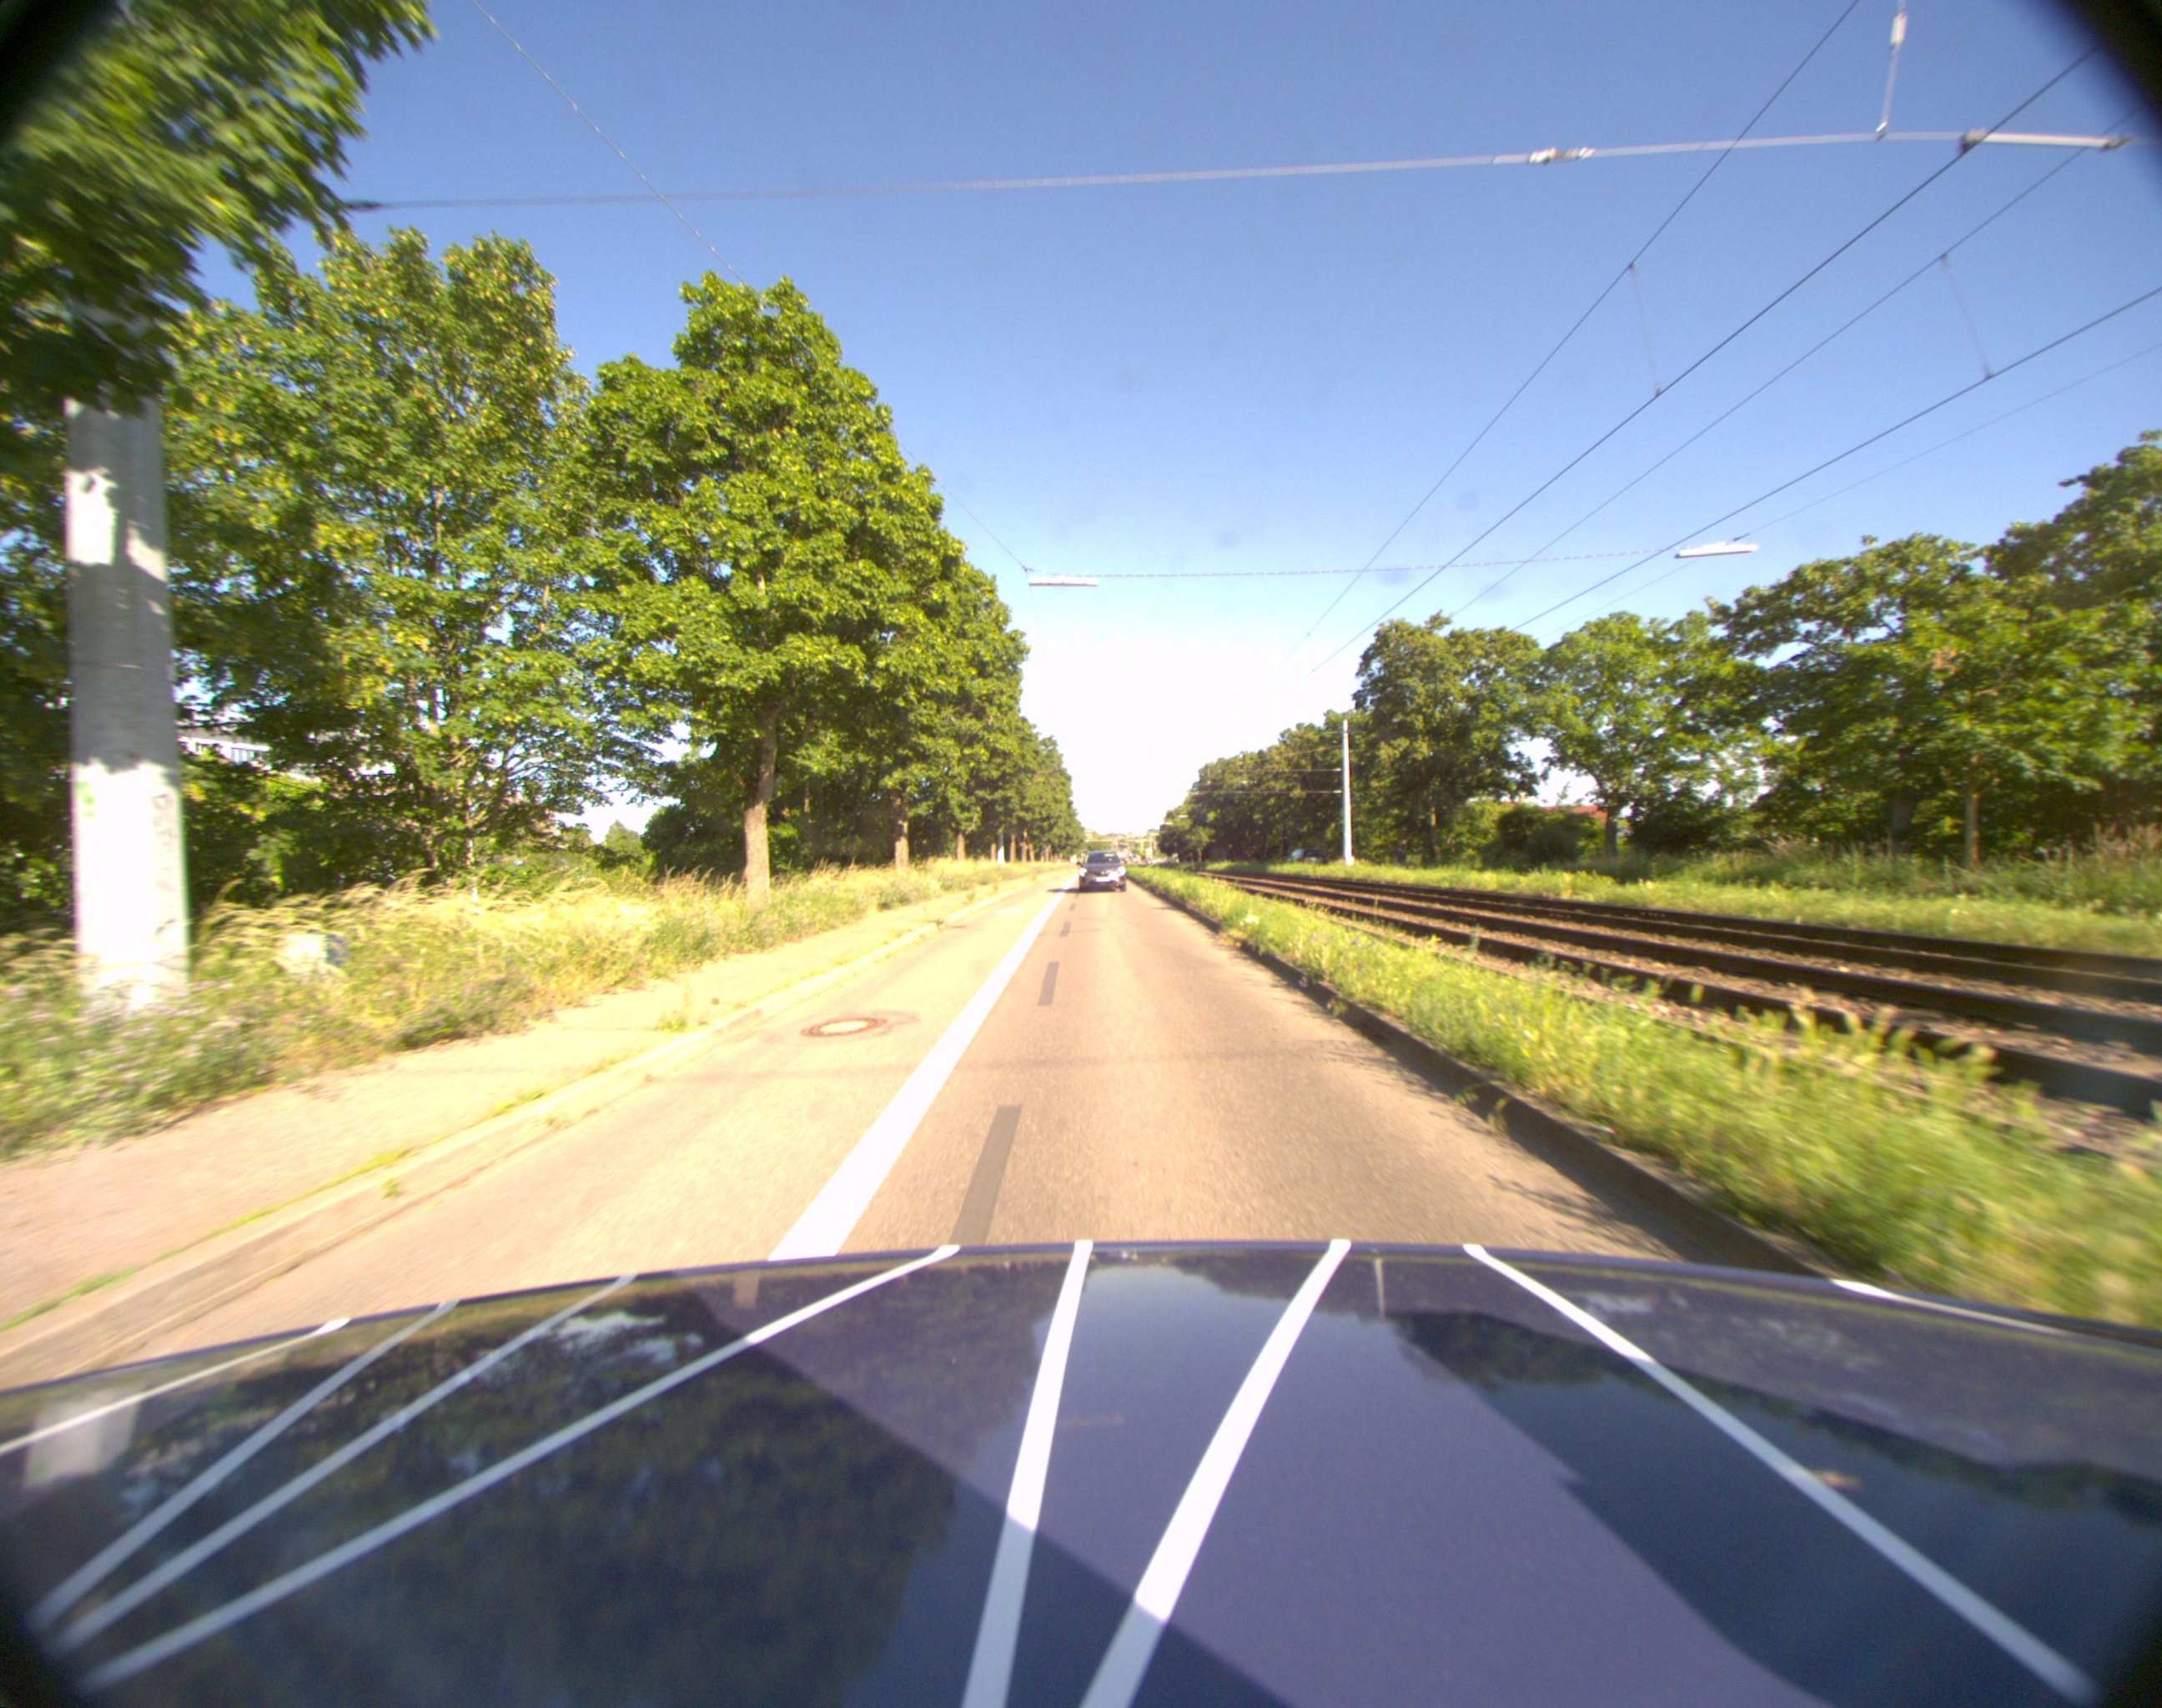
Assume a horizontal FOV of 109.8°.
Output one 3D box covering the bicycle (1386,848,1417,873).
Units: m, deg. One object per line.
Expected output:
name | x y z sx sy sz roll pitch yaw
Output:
bicycle | 16.769 0.348 39.811 0.591 1.254 2.427 -3 0 2

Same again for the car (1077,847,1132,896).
car | 0.891 0.602 29.057 1.814 1.625 4.710 -3 0 2

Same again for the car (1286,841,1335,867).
car | 14.307 0.020 47.646 1.814 1.480 4.407 -3 0 2

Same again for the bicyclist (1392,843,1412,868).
bicyclist | 16.760 0.079 39.700 0.584 1.302 0.987 -3 0 2
